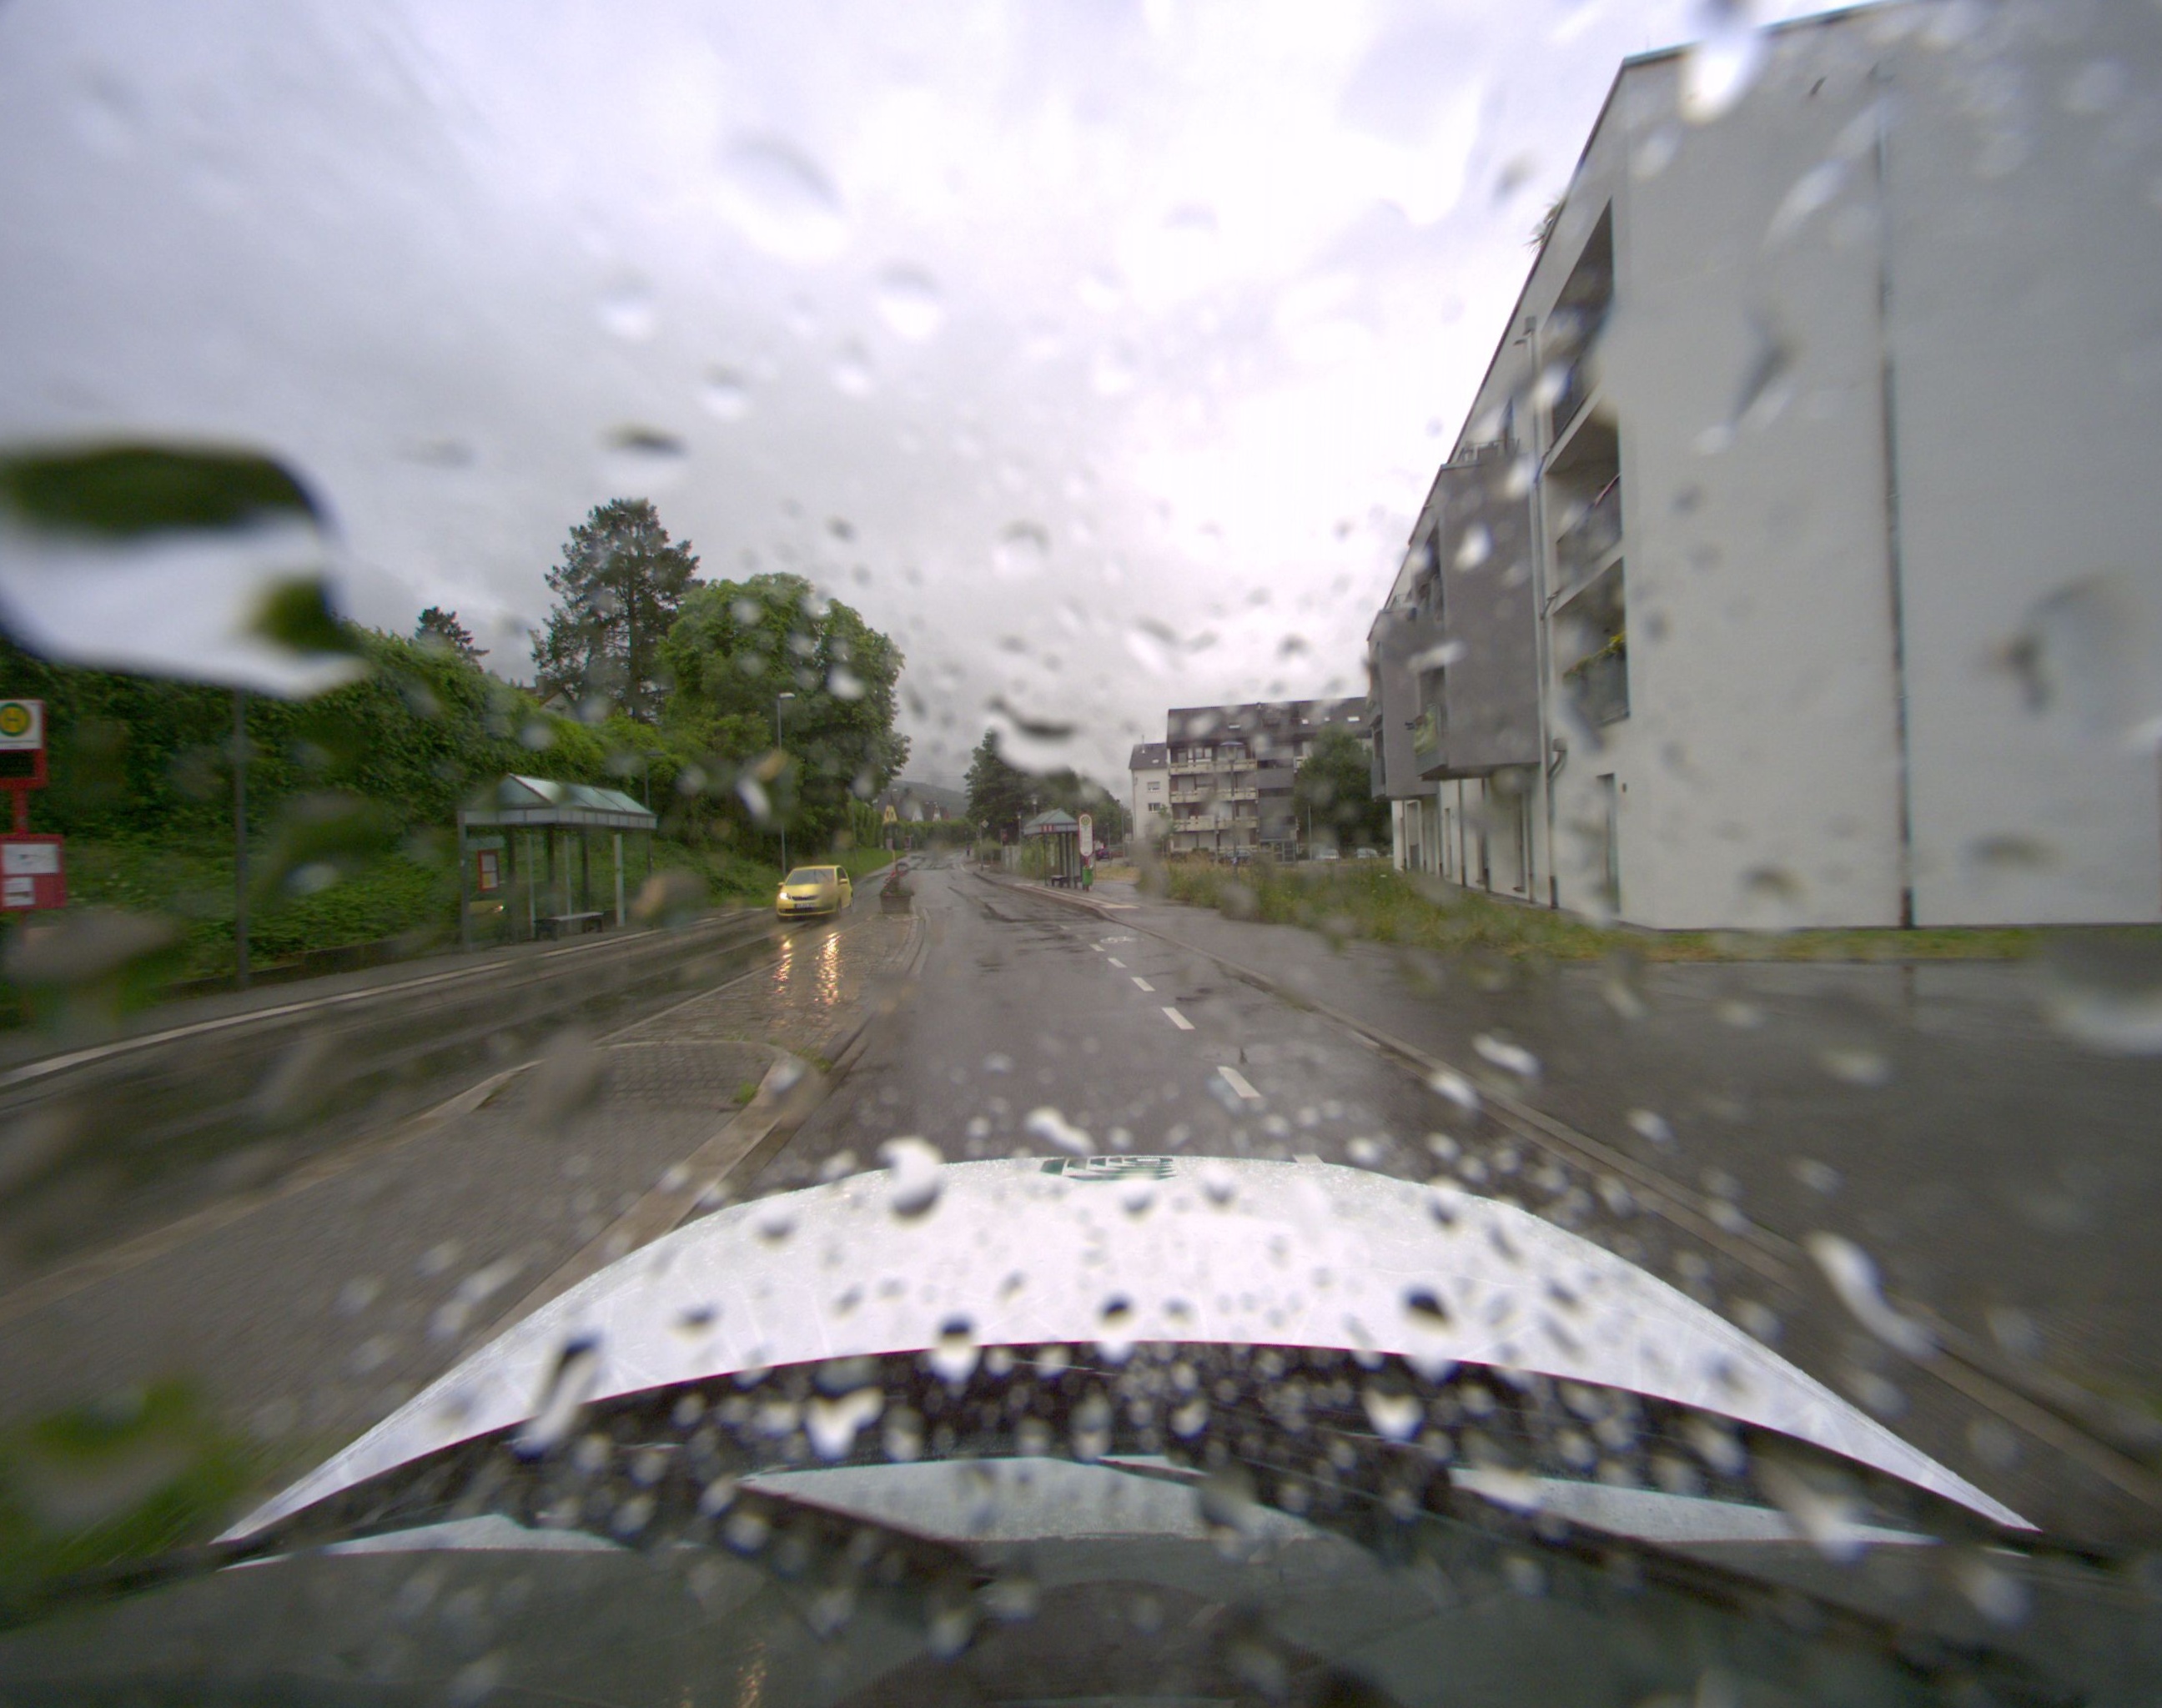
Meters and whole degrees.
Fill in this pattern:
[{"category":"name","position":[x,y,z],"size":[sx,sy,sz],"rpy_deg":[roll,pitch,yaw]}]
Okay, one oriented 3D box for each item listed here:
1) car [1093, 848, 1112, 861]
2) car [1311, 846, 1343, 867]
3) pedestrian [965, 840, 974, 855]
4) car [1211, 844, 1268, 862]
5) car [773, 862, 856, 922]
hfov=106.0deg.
[{"category":"car","position":[2.534,0.020,96.397],"size":[1.687,1.438,3.602],"rpy_deg":[-2,2,-8]},{"category":"car","position":[17.882,0.207,59.374],"size":[1.706,1.441,3.716],"rpy_deg":[-1,-2,9]},{"category":"pedestrian","position":[-13.031,-0.737,94.891],"size":[0.919,1.675,1.054],"rpy_deg":[-4,2,-8]},{"category":"car","position":[13.027,-0.062,67.195],"size":[4.574,1.387,1.952],"rpy_deg":[0,1,8]},{"category":"car","position":[-7.459,1.003,23.086],"size":[1.571,1.410,3.464],"rpy_deg":[-4,1,-8]}]
